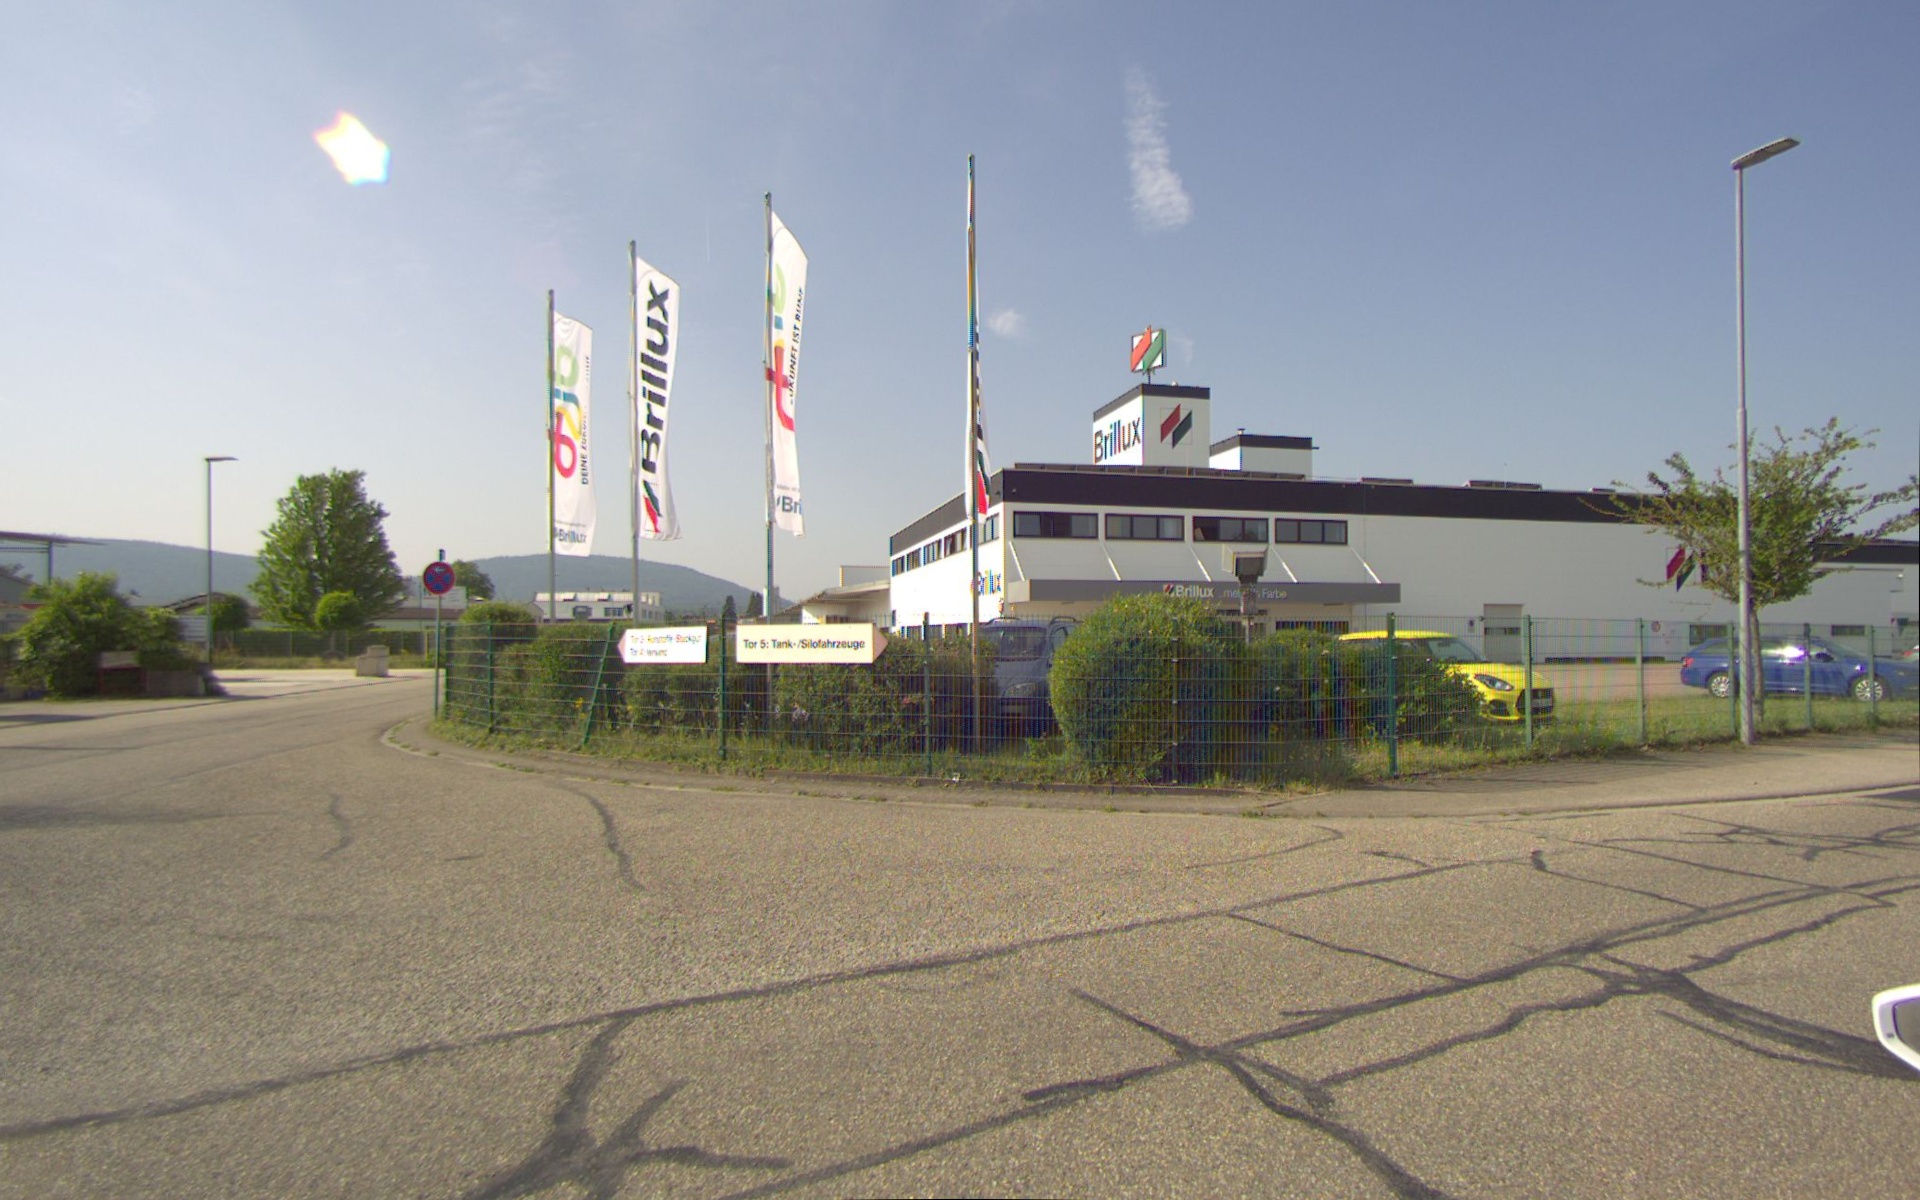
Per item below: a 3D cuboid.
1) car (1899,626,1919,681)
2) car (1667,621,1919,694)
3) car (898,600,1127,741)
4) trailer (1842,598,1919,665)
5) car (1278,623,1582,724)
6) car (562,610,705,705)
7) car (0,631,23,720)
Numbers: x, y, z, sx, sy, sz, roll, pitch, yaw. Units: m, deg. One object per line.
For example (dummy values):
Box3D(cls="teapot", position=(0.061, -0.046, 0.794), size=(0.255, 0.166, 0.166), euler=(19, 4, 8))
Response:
Box3D(cls="car", position=(29.198, 1.453, 27.950), size=(1.843, 1.588, 4.108), euler=(1, -4, -30))
Box3D(cls="car", position=(19.078, 1.306, 22.666), size=(2.054, 1.462, 4.664), euler=(1, -4, -30))
Box3D(cls="car", position=(0.973, 0.935, 15.031), size=(1.920, 1.718, 4.509), euler=(1, -1, 24))
Box3D(cls="trailer", position=(62.995, 2.122, 64.387), size=(13.656, 4.095, 2.482), euler=(2, -1, -15))
Box3D(cls="car", position=(7.340, 1.104, 16.131), size=(1.846, 1.386, 4.146), euler=(1, -3, -29))
Box3D(cls="car", position=(-6.706, 1.168, 21.167), size=(2.112, 1.775, 4.659), euler=(0, -2, -9))
Box3D(cls="car", position=(-21.125, 1.491, 19.370), size=(3.937, 1.795, 1.993), euler=(1, -2, -18))
